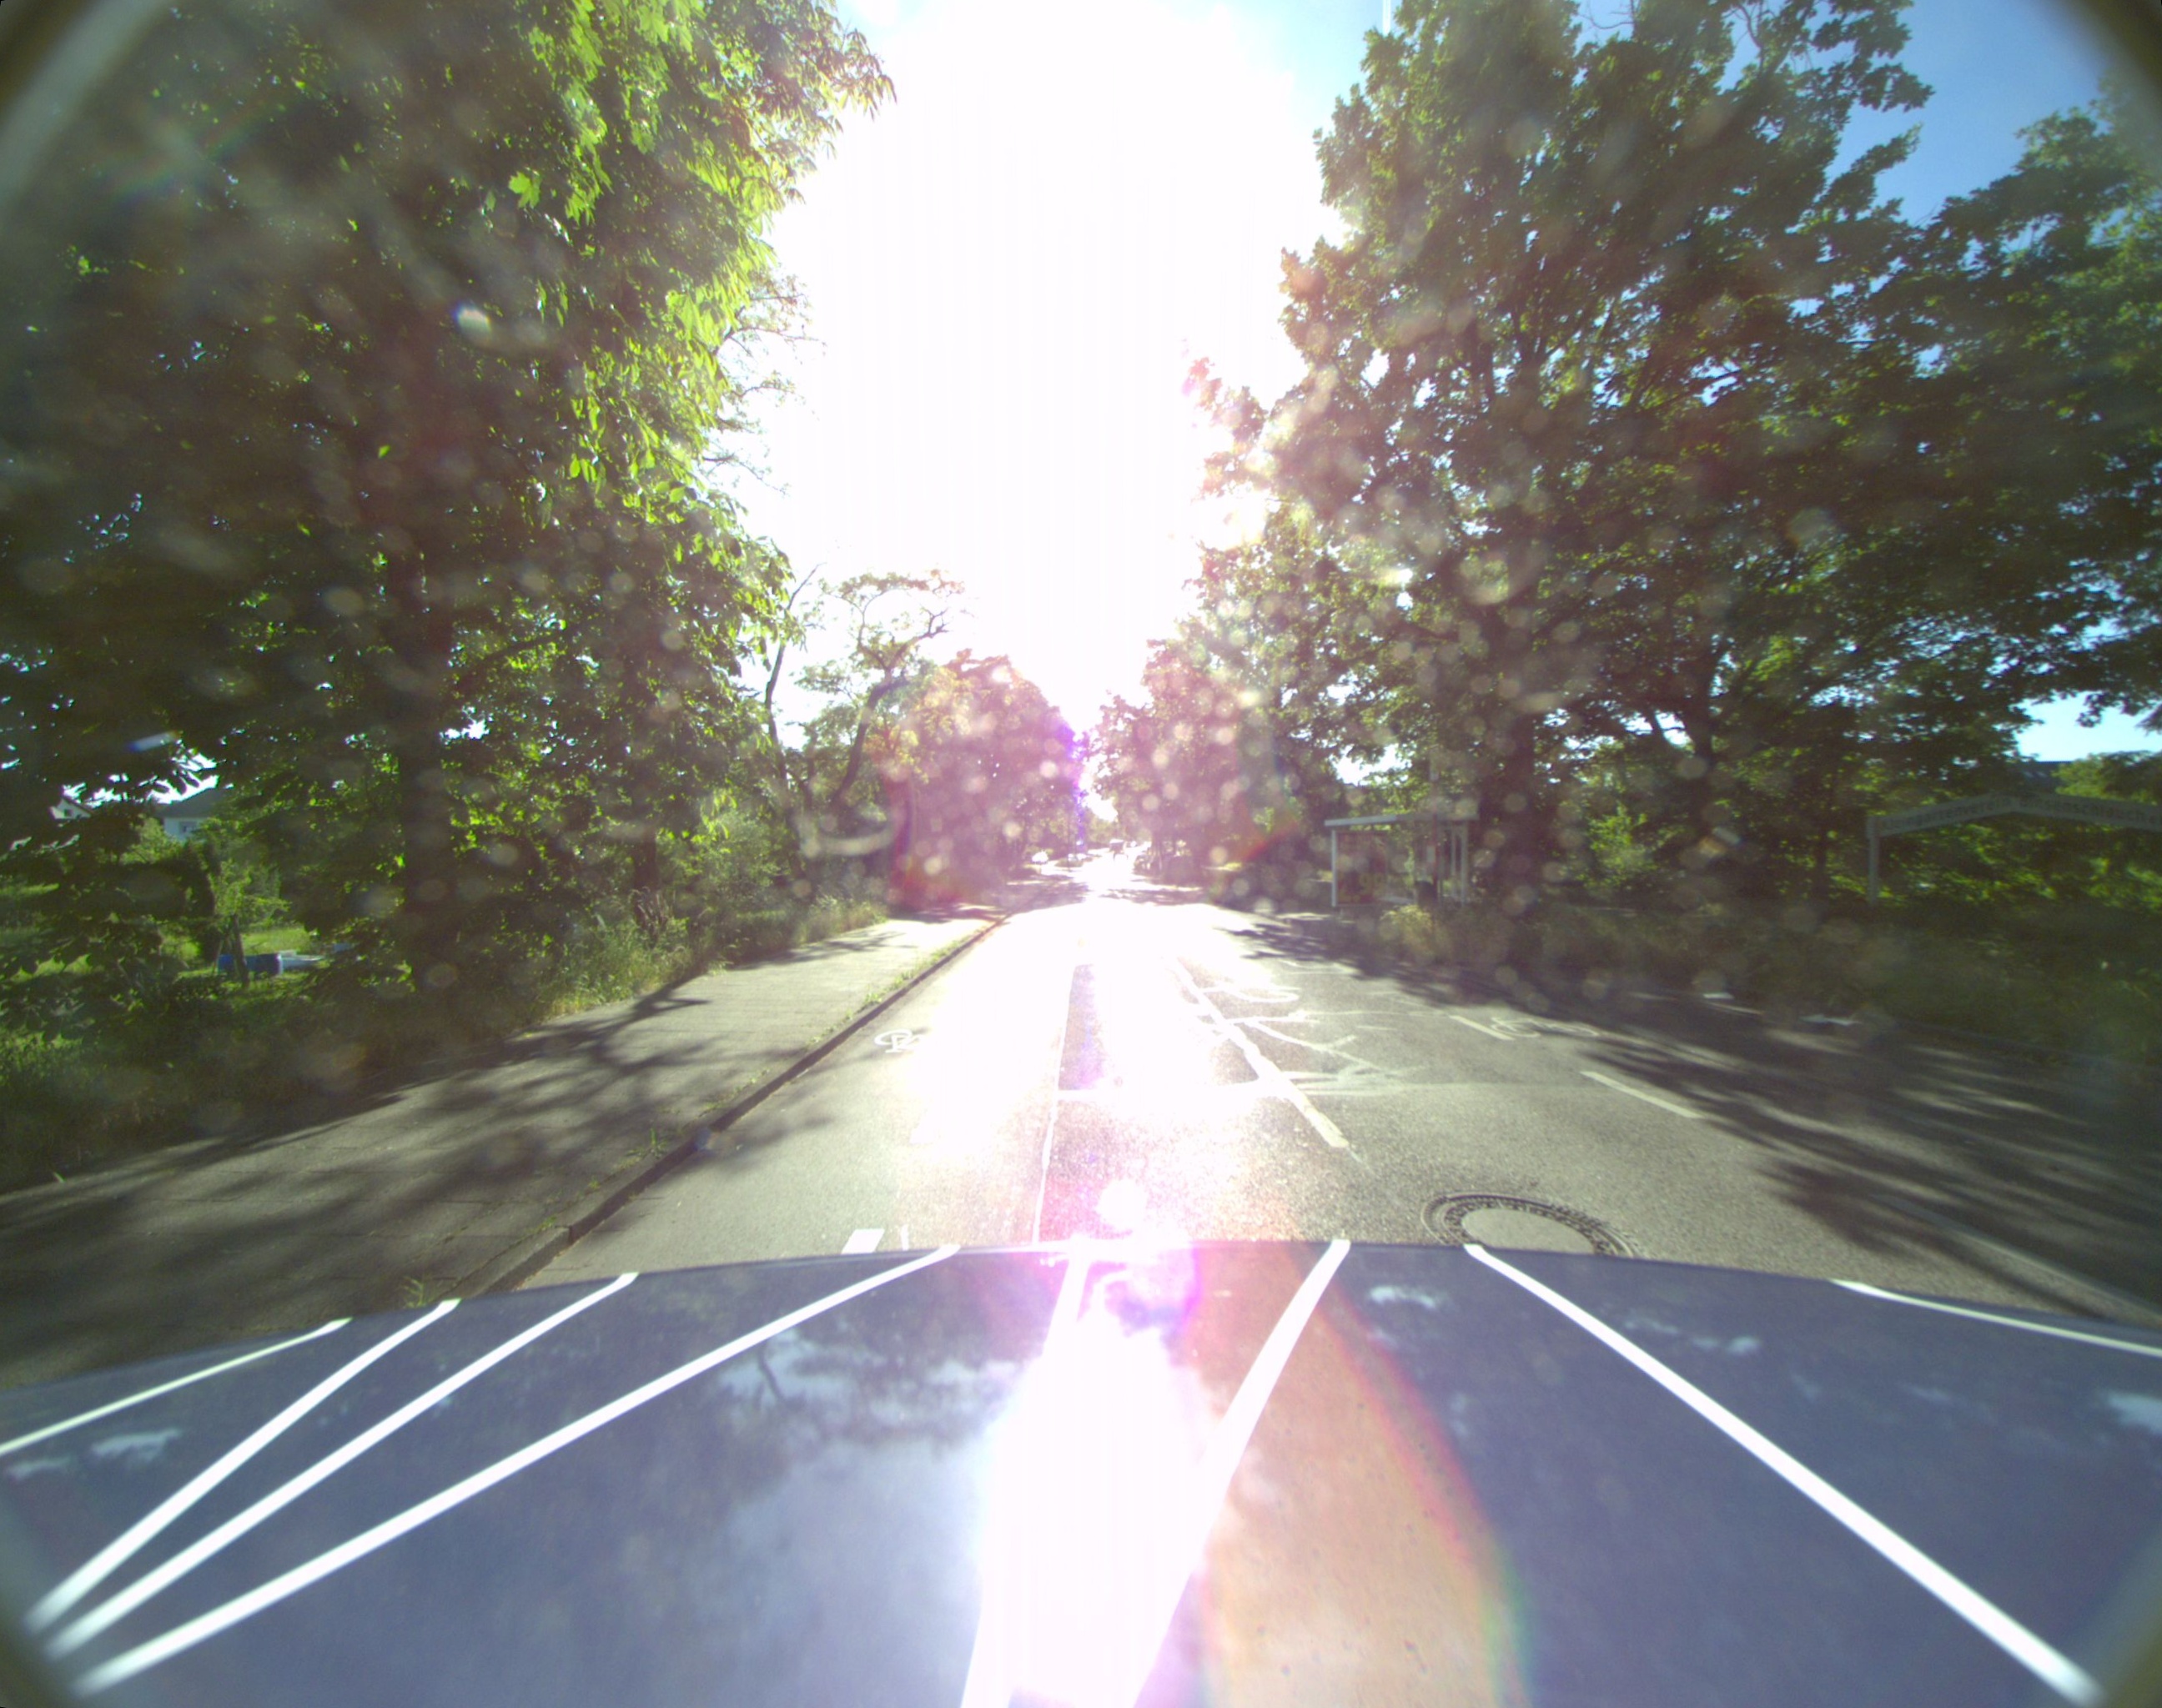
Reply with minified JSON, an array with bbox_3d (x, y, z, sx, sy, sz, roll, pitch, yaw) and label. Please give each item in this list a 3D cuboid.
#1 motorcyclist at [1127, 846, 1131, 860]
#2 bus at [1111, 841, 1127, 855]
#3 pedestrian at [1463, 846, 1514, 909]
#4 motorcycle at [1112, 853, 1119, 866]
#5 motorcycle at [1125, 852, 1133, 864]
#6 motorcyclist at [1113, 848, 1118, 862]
[{"bbox_3d":[6.724,-0.143,106.420,0.537,2.002,0.826,-2,1,-2],"label":"motorcyclist"},{"bbox_3d":[8.553,-1.287,171.315,2.790,2.965,12.894,-2,0,-1],"label":"bus"},{"bbox_3d":[11.336,0.649,21.171,0.915,1.678,0.891,-2,0,2],"label":"pedestrian"},{"bbox_3d":[4.726,0.716,103.914,0.815,1.624,2.411,-2,1,-2],"label":"motorcycle"},{"bbox_3d":[6.763,0.589,106.343,0.815,1.667,2.411,-2,1,-2],"label":"motorcycle"},{"bbox_3d":[4.720,0.138,103.860,0.640,2.002,0.739,-2,1,-2],"label":"motorcyclist"}]
